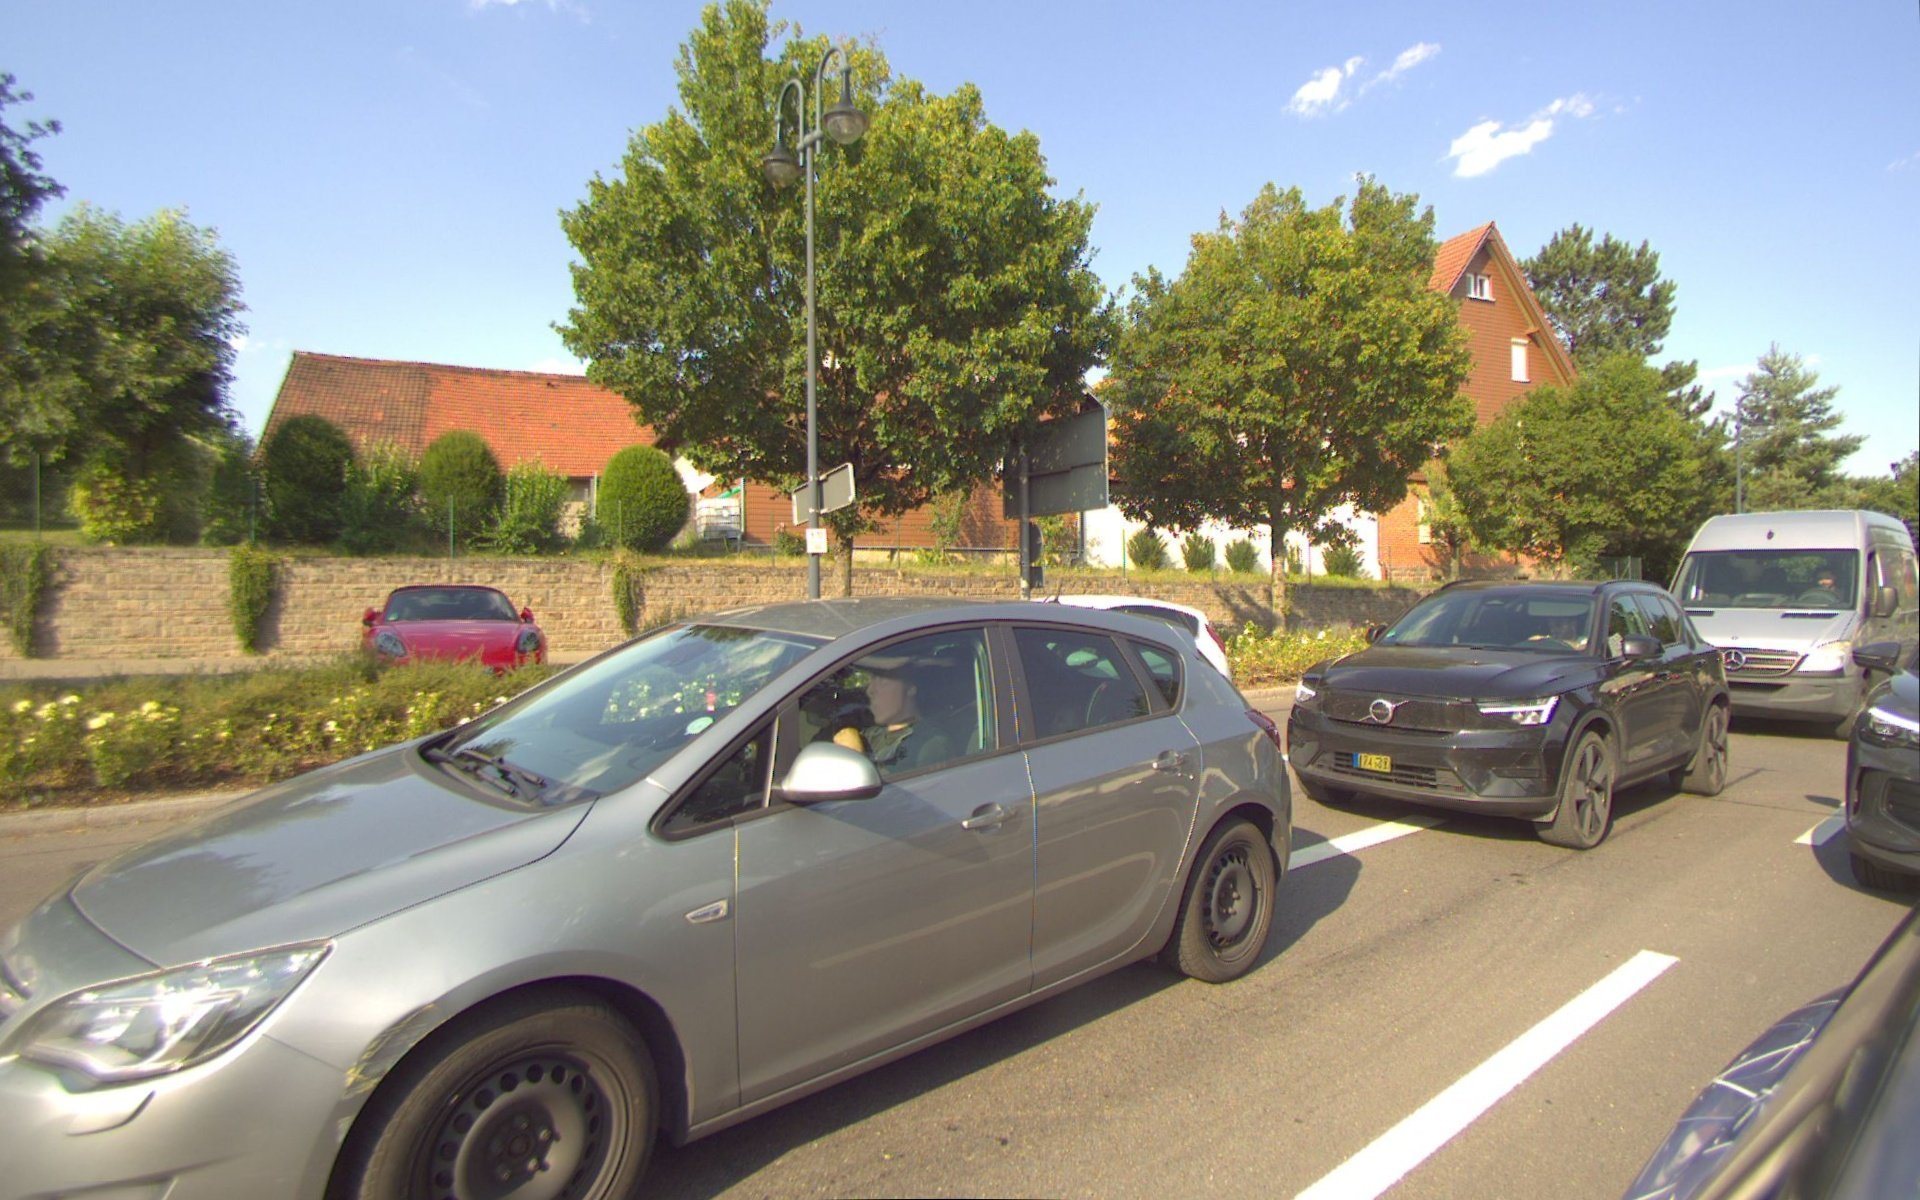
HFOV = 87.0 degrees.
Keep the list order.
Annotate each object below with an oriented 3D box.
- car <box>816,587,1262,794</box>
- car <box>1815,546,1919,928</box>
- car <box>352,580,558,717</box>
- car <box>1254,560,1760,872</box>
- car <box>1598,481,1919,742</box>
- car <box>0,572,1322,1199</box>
[{"bbox_3d":[0.854,0.630,9.160,3.997,1.469,1.732,0,0,-41],"label":"car"},{"bbox_3d":[6.366,0.596,5.496,4.646,1.677,1.893,0,0,-40],"label":"car"},{"bbox_3d":[-5.840,0.446,11.721,1.816,1.288,4.005,0,0,-28],"label":"car"},{"bbox_3d":[4.104,0.591,7.327,4.054,1.629,1.885,0,0,-40],"label":"car"},{"bbox_3d":[10.545,0.095,12.897,6.082,2.579,2.369,0,0,-40],"label":"car"},{"bbox_3d":[-0.604,0.674,3.483,4.095,1.460,1.746,0,0,-41],"label":"car"}]
